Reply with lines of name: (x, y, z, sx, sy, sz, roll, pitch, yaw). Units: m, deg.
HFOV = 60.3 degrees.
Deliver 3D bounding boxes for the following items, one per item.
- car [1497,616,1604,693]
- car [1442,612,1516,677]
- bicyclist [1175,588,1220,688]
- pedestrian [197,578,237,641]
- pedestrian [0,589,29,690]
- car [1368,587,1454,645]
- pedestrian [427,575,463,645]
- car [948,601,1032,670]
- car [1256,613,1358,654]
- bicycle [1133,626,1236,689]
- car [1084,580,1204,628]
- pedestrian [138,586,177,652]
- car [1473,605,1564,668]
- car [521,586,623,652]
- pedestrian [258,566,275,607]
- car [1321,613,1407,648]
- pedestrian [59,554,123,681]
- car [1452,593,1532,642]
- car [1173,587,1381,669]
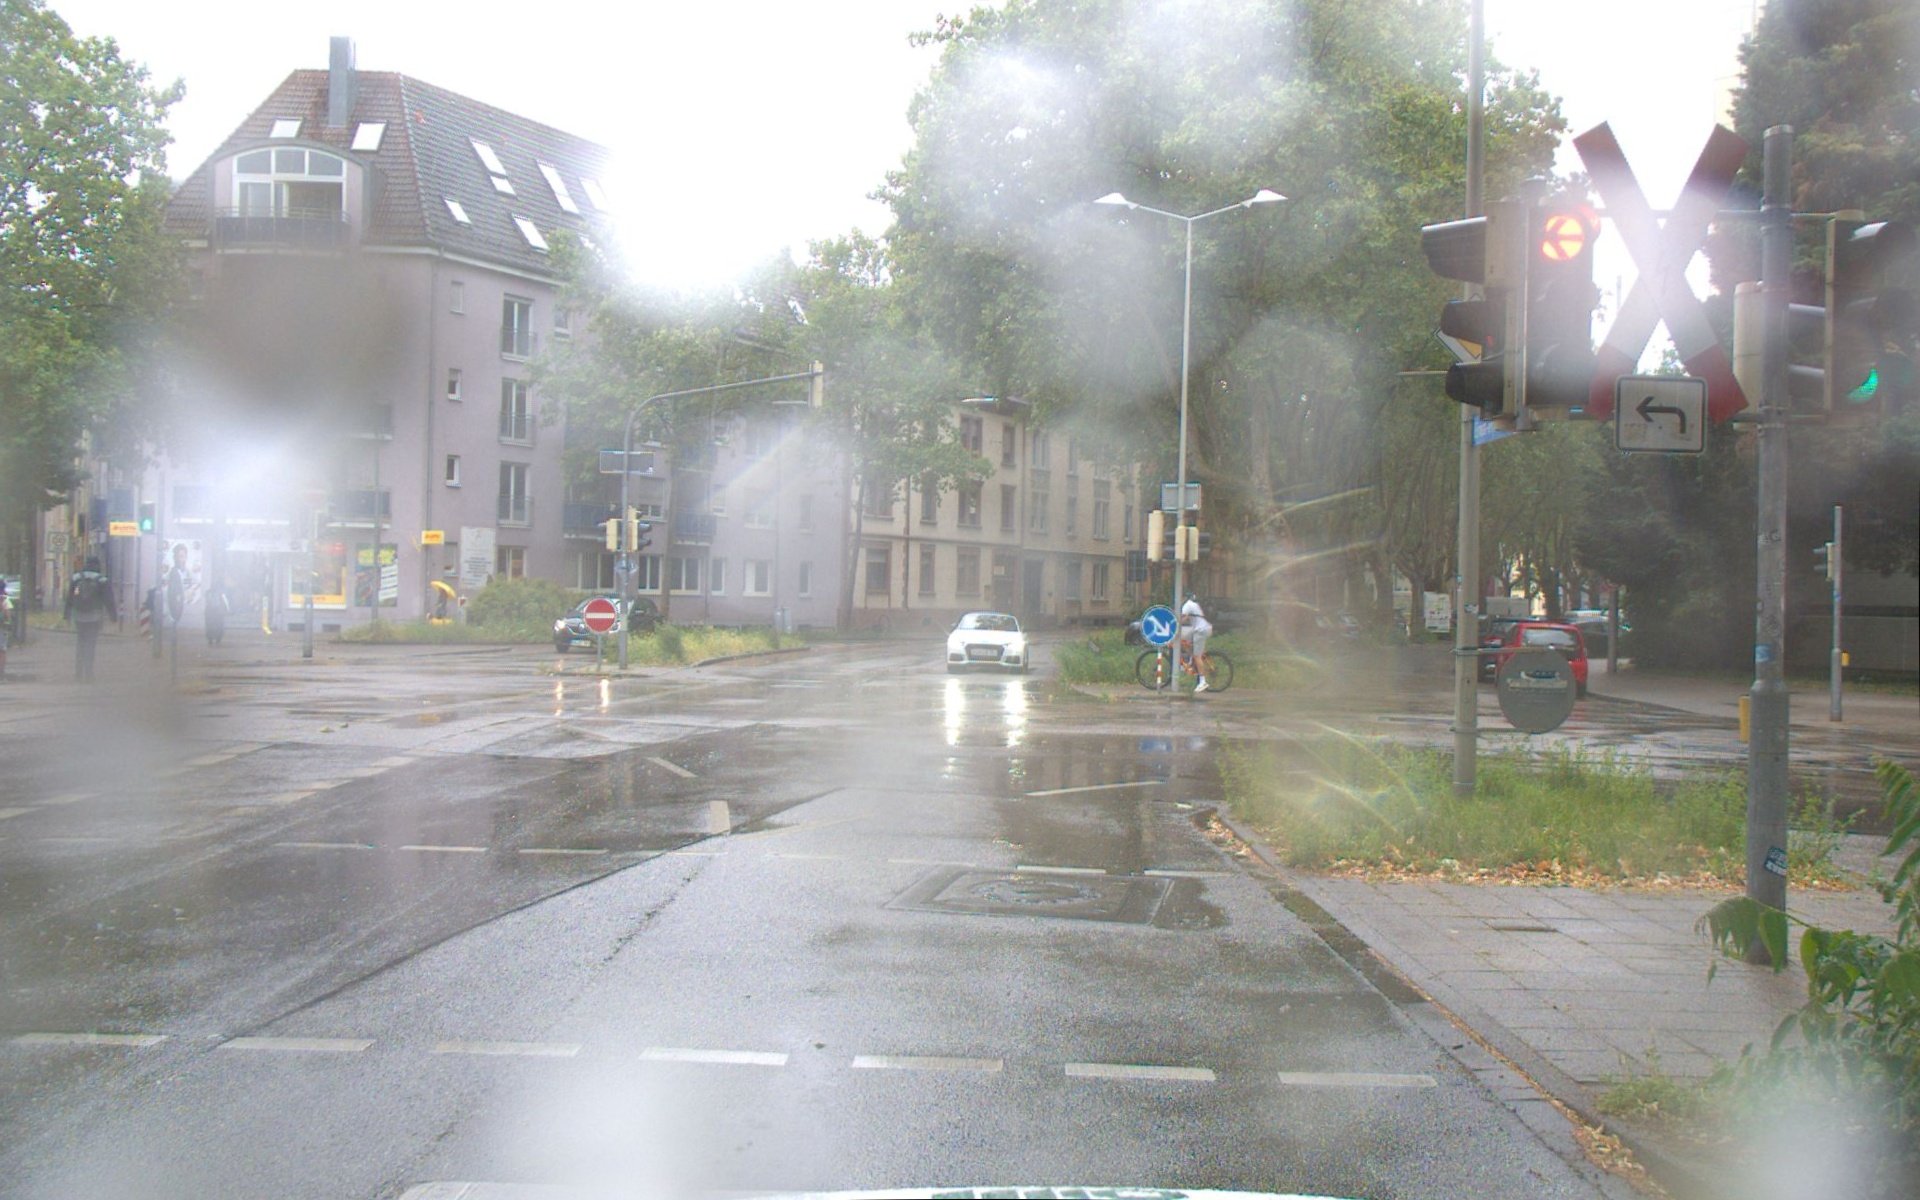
car: (13.044, 1.159, 36.728, 1.754, 1.524, 4.003, 1, 0, 13)
car: (14.983, 1.250, 47.901, 1.745, 1.757, 4.003, 1, 0, 13)
bicyclist: (4.355, 0.692, 30.413, 0.778, 1.817, 0.697, 1, -1, 7)
pedestrian: (-18.712, 0.248, 41.673, 0.736, 1.560, 0.789, 1, -1, -12)
pedestrian: (-13.748, 0.555, 23.672, 0.643, 1.420, 0.773, 1, 0, -35)
car: (23.951, 0.843, 88.061, 2.005, 2.999, 4.742, 1, 0, -21)
pedestrian: (-16.297, 0.317, 52.326, 0.897, 2.188, 0.879, 1, -1, -27)
car: (0.716, 0.794, 39.109, 1.845, 1.461, 4.001, 1, 0, 1)
car: (13.757, 1.300, 65.590, 3.902, 1.512, 2.002, 1, 0, 12)
bicycle: (4.121, 1.047, 30.436, 1.833, 1.100, 0.657, 1, 0, 7)
car: (6.107, 0.127, 54.736, 3.784, 1.512, 1.717, 1, 0, 12)
pedestrian: (-19.979, 0.464, 41.191, 0.662, 1.628, 0.964, 1, -1, -16)
car: (13.890, 0.874, 41.298, 1.745, 1.371, 3.932, 2, 1, 13)
car: (-9.632, 0.443, 41.339, 1.716, 1.538, 3.838, 1, 0, -2)
pedestrian: (-22.652, -0.439, 54.025, 0.437, 1.353, 0.559, 1, -1, -18)
car: (19.257, 1.437, 78.919, 3.902, 1.574, 2.002, 1, 0, 12)
pedestrian: (-13.151, 0.269, 25.049, 0.777, 1.888, 0.676, 1, 0, -25)
car: (33.667, 1.079, 104.804, 1.974, 2.999, 4.720, 1, 0, -31)
car: (6.279, 0.532, 32.785, 3.902, 1.512, 2.002, 1, 0, 12)
